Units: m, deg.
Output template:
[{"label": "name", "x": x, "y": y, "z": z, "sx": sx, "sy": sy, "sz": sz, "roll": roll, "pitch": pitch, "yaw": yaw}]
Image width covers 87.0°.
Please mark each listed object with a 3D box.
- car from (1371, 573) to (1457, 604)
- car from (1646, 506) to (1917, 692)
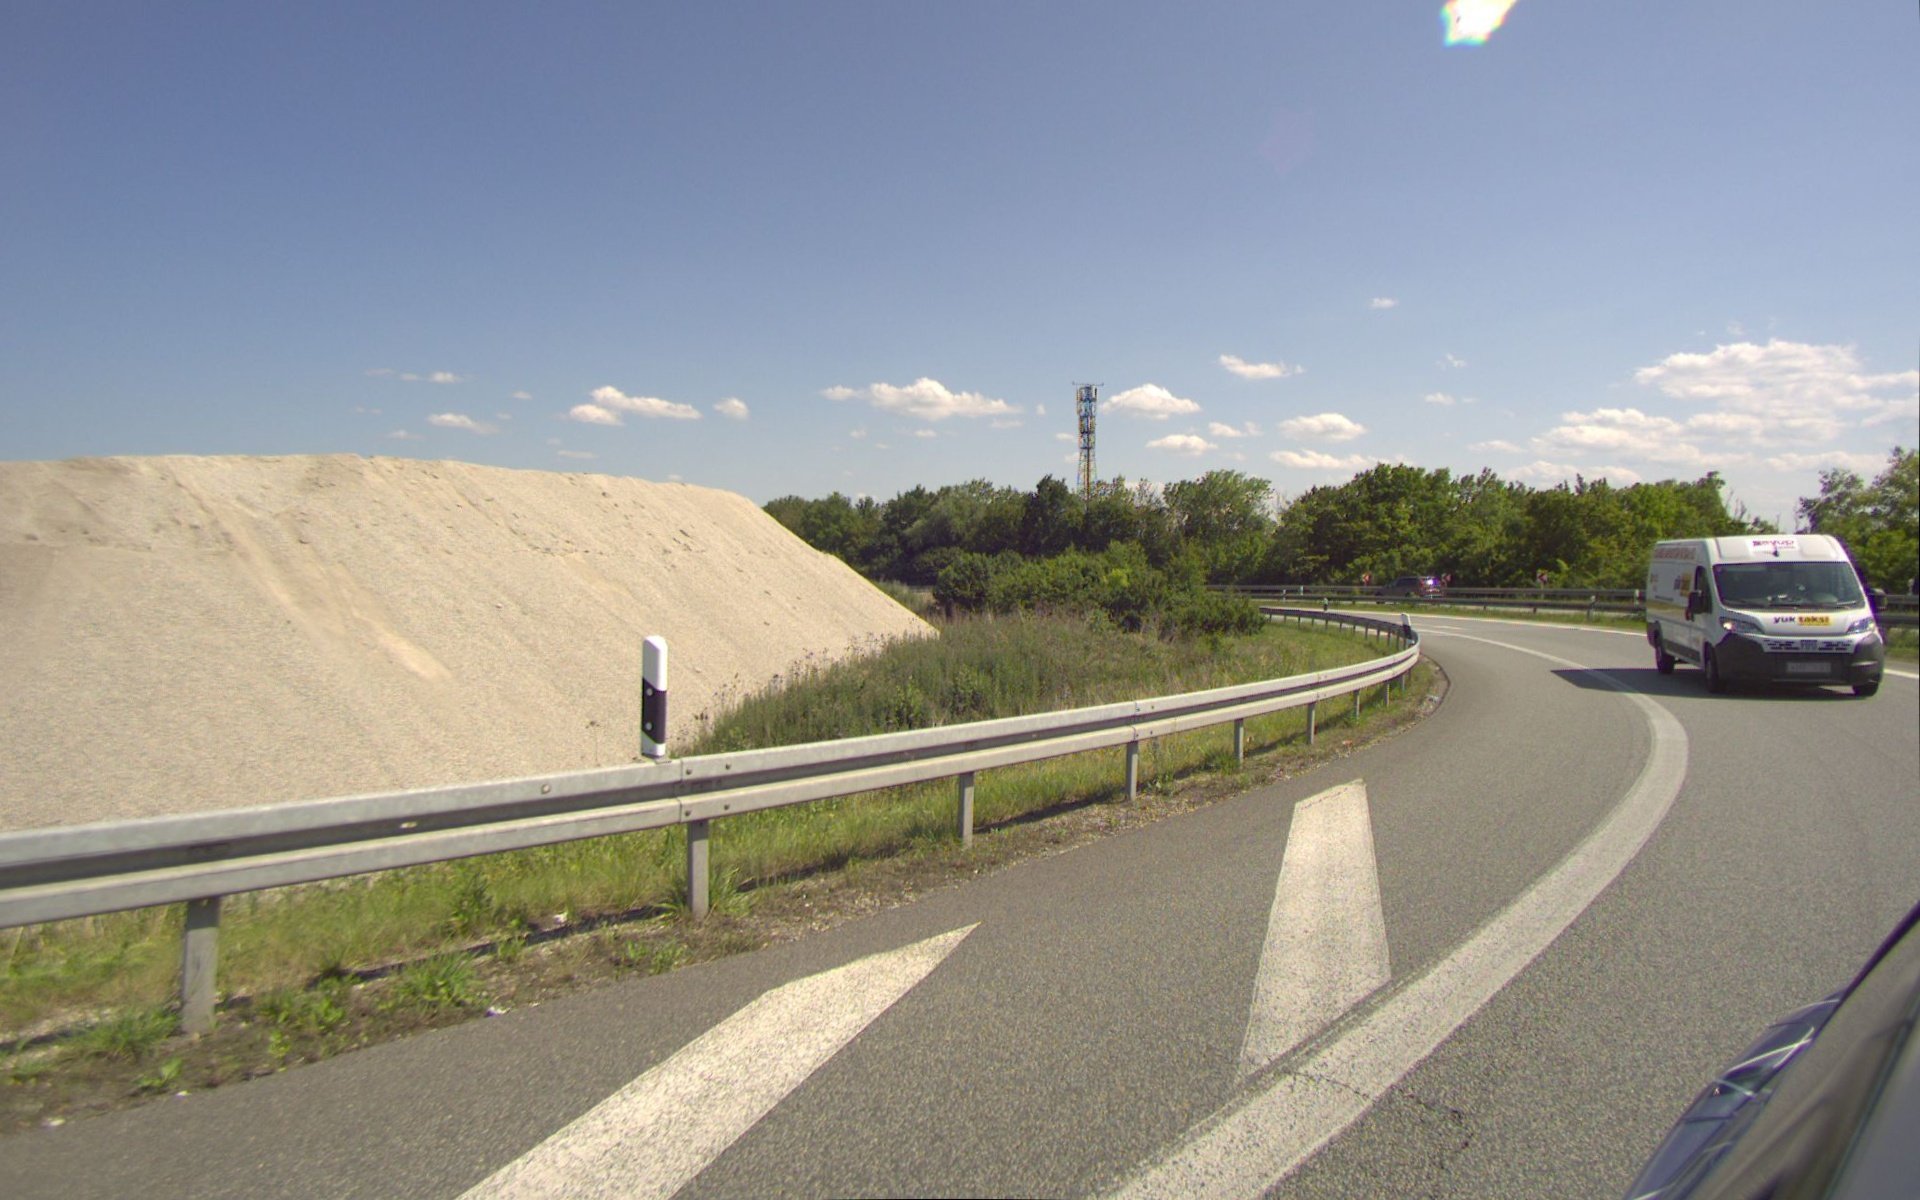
[{"label": "car", "x": 27.302, "y": -0.702, "z": 61.125, "sx": 1.958, "sy": 1.752, "sz": 5.208, "roll": -2, "pitch": 1, "yaw": -13}, {"label": "car", "x": 13.524, "y": -0.016, "z": 17.203, "sx": 2.067, "sy": 2.556, "sz": 6.182, "roll": -3, "pitch": -1, "yaw": 26}]
